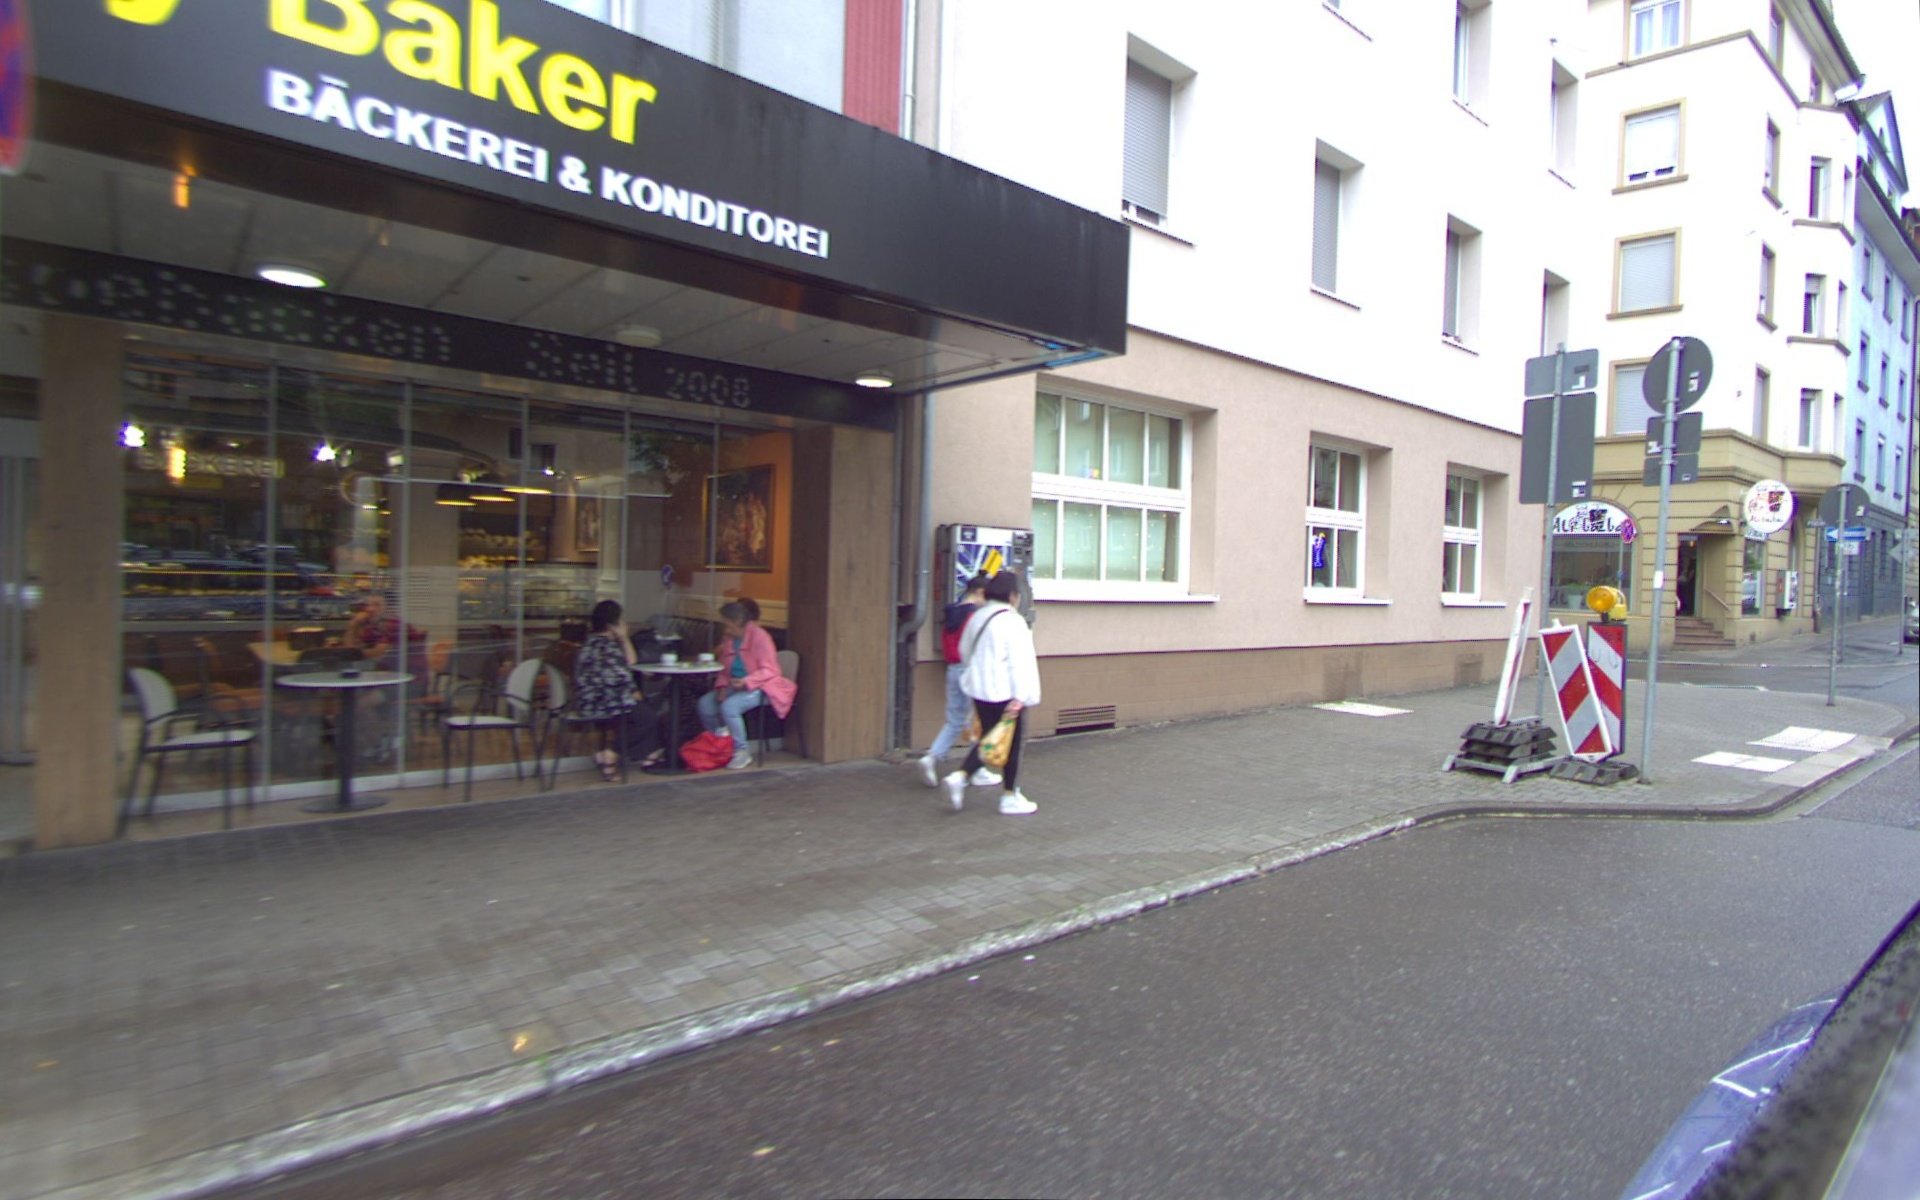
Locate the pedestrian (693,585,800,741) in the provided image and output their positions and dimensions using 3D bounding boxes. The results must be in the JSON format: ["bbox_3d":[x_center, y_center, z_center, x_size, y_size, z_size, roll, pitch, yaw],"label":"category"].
[{"bbox_3d":[-1.896,0.526,8.958,0.647,1.273,0.703,0,3,-40],"label":"pedestrian"}]

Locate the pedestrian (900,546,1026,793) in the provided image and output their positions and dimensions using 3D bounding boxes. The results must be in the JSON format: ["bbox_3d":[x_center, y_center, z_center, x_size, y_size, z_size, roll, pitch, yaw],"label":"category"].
[{"bbox_3d":[-0.002,0.461,7.255,0.767,1.667,0.705,2,3,-5],"label":"pedestrian"}]

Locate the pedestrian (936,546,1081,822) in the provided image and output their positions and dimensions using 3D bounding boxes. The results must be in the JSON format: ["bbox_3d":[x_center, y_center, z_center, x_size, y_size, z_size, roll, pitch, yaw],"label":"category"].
[{"bbox_3d":[0.290,0.502,6.531,0.767,1.667,0.705,2,3,-5],"label":"pedestrian"}]

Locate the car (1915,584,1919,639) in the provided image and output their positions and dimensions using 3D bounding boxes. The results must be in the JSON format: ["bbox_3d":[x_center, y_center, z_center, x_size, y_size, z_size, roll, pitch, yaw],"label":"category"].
[{"bbox_3d":[28.262,0.298,28.348,4.133,1.482,1.854,-1,2,-42],"label":"car"}]

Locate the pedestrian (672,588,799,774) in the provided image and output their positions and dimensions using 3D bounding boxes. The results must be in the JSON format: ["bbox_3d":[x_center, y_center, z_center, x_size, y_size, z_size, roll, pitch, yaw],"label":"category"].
[{"bbox_3d":[-1.687,0.566,7.589,0.647,1.273,0.703,0,3,-40],"label":"pedestrian"}]

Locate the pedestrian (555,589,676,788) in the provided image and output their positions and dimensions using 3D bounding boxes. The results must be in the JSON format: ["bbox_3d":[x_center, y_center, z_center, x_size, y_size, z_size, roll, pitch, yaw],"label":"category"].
[{"bbox_3d":[-2.412,0.580,7.061,0.645,1.273,0.625,1,3,-32],"label":"pedestrian"}]

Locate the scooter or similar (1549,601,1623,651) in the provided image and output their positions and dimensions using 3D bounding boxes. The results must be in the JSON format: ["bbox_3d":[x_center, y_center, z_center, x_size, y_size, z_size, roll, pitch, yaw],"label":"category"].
[{"bbox_3d":[15.548,0.645,25.149,1.457,1.163,0.486,-1,5,13],"label":"scooter or similar"}]
